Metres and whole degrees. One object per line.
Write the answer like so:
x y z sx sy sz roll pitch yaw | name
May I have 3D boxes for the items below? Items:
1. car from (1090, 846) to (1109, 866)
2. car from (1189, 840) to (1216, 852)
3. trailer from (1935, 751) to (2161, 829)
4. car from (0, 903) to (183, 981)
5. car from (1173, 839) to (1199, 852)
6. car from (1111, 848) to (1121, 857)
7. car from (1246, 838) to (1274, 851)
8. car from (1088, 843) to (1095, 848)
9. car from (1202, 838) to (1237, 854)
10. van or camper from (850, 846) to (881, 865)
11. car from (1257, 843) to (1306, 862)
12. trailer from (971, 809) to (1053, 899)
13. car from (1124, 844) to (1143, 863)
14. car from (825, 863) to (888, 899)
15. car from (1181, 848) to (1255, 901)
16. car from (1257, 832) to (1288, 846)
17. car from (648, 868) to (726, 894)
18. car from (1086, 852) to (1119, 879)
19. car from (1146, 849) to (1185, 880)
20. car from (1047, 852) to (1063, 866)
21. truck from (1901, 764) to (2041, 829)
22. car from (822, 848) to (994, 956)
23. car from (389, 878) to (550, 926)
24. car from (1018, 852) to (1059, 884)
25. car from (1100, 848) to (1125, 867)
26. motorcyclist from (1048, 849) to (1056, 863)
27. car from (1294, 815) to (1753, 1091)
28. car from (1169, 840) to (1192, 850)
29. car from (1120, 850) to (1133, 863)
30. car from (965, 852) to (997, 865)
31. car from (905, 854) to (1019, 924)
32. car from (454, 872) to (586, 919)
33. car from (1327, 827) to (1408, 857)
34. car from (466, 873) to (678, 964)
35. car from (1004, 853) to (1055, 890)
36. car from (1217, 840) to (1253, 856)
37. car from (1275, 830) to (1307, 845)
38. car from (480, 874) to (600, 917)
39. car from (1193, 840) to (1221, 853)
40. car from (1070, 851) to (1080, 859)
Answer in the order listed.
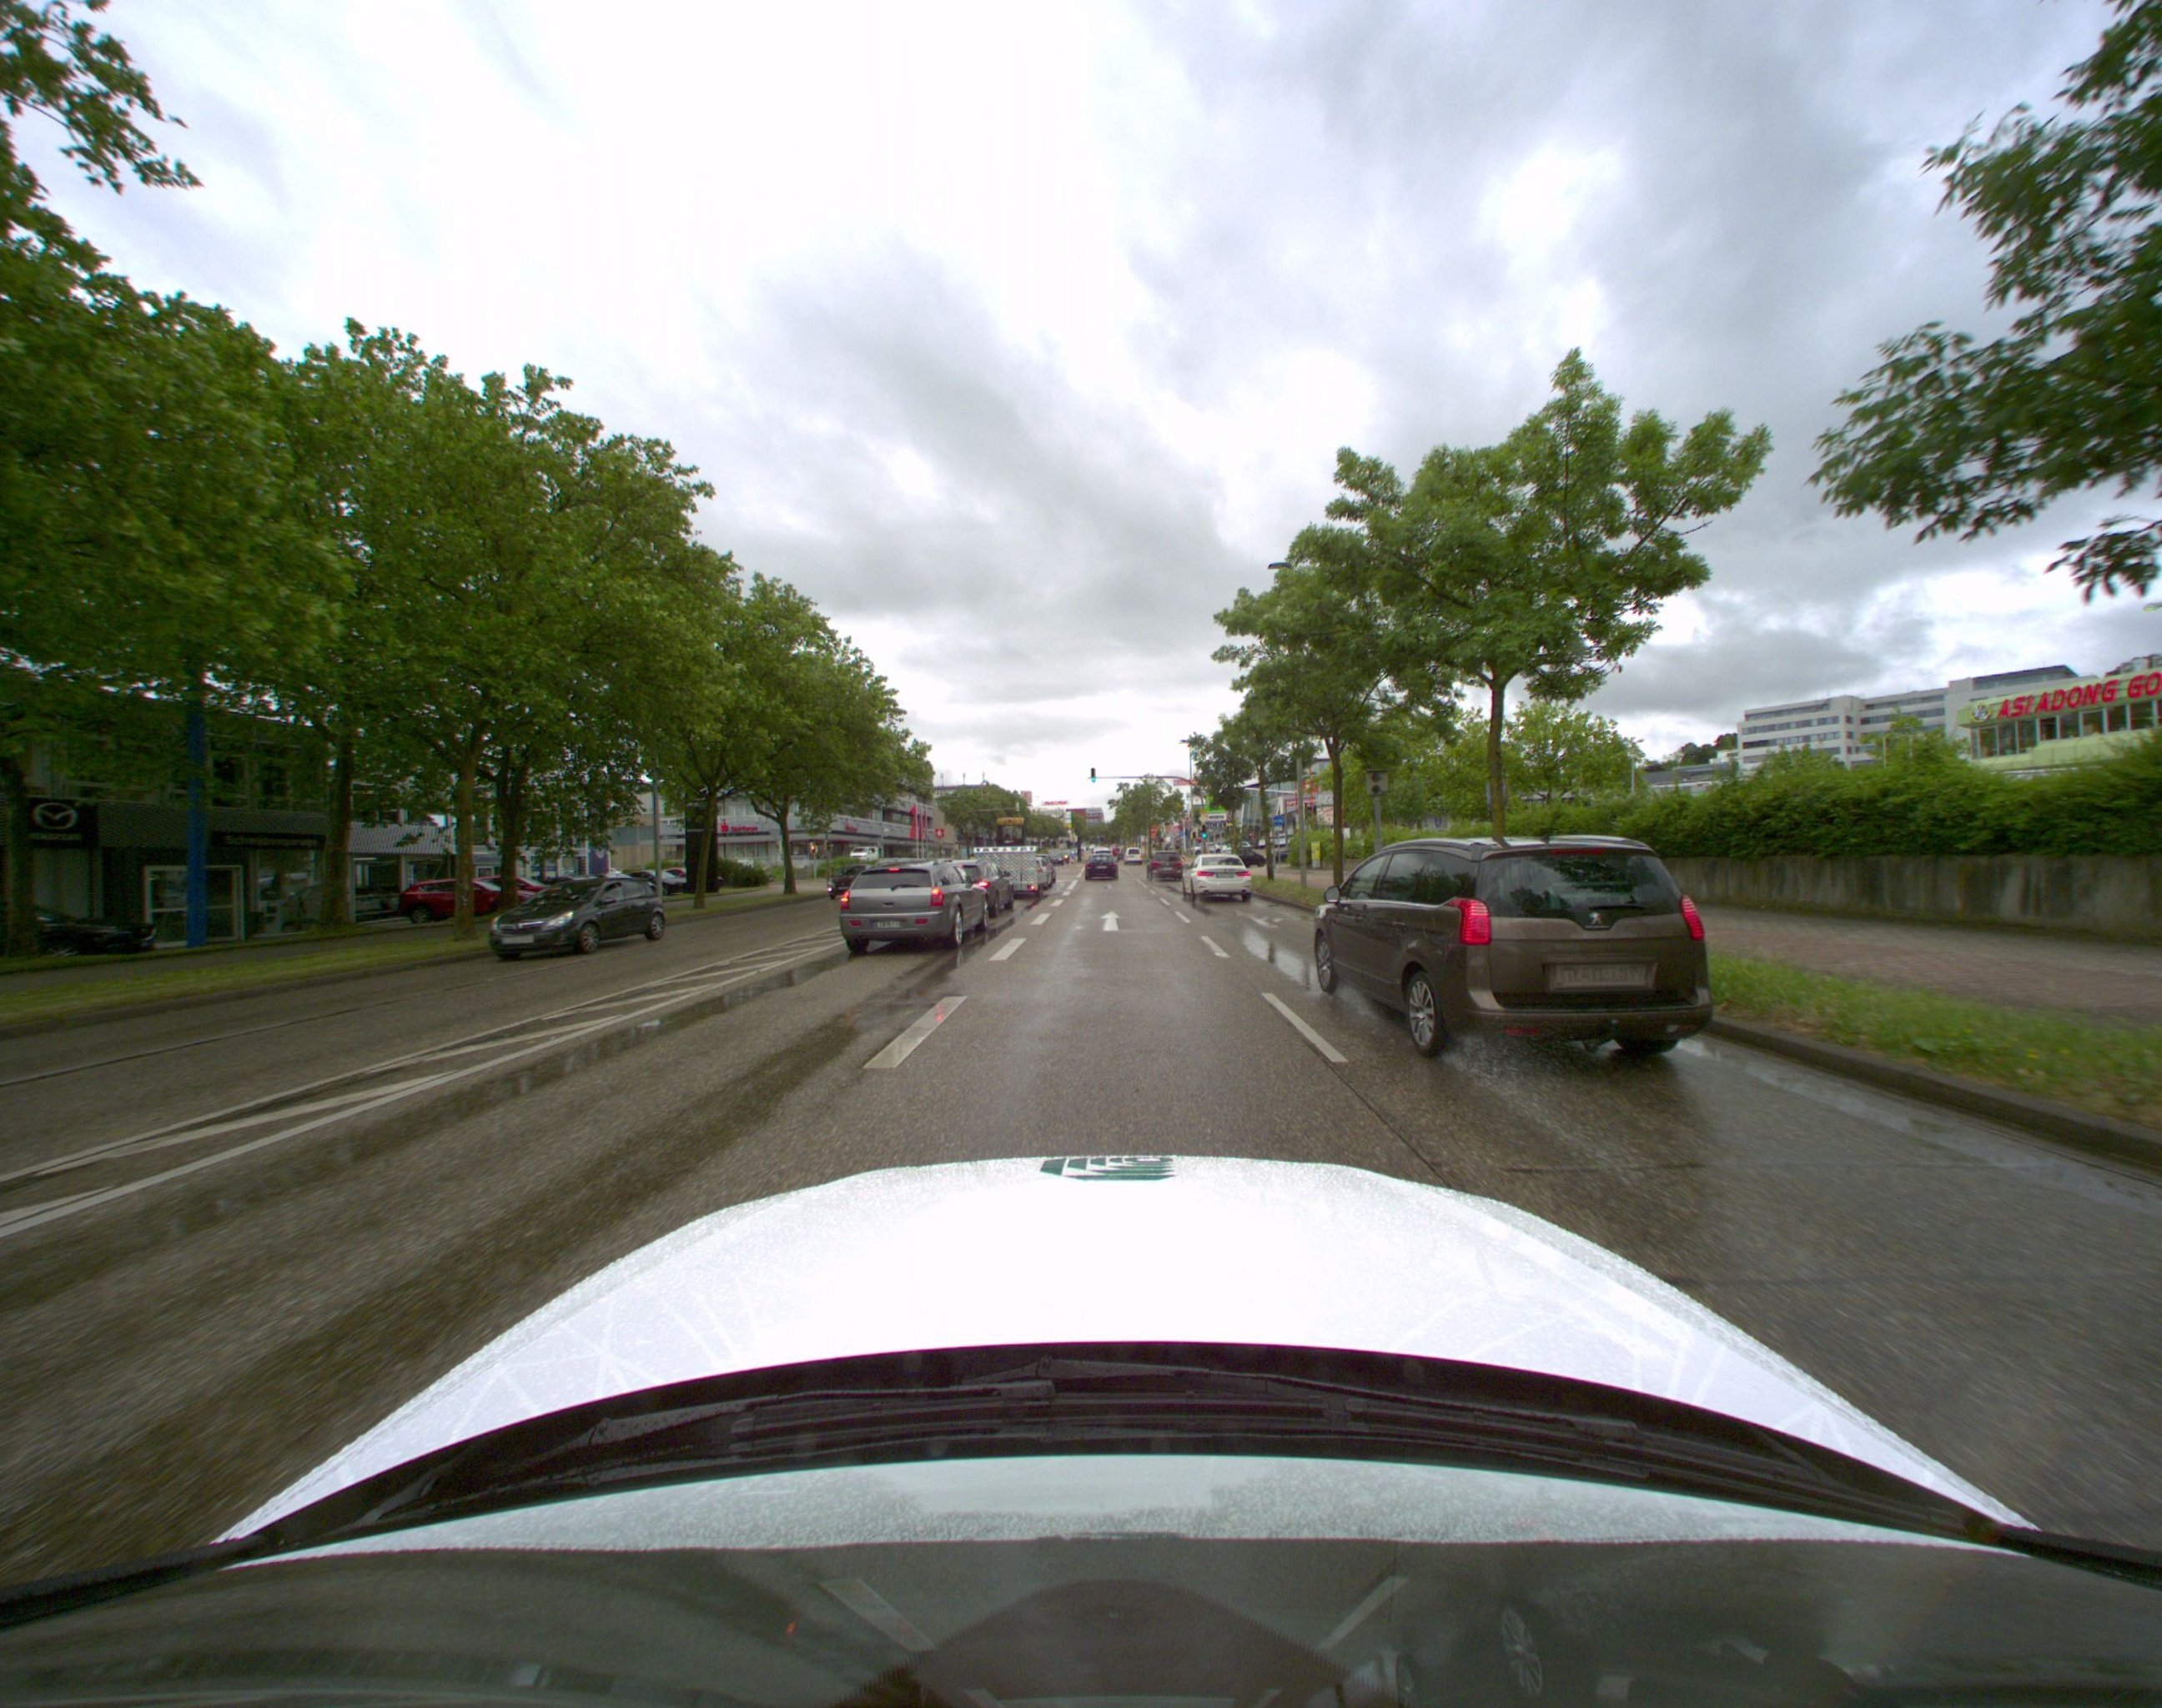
1.935 0.212 84.609 1.986 2.014 4.001 -1 -1 2 | car
17.231 -1.113 115.301 3.617 1.536 1.776 -4 1 -38 | car
54.551 -3.284 43.350 3.139 3.715 14.823 -1 1 2 | trailer
-23.770 2.009 18.211 4.478 1.450 1.982 -2 0 -27 | car
17.640 -1.444 137.104 4.094 1.904 1.801 -3 0 3 | car
5.940 -0.183 138.066 1.688 1.443 3.991 -2 -1 2 | car
25.795 -1.375 117.247 3.995 1.720 1.615 -3 0 -38 | car
3.306 -2.666 259.069 1.936 1.448 4.000 -2 0 0 | car
17.356 -0.959 101.842 4.047 1.662 1.960 -5 2 -38 | car
-23.225 0.150 87.857 1.986 1.967 4.789 -1 -1 1 | van or camper
18.142 -0.099 73.665 3.964 1.489 1.818 -3 -1 1 | car
-2.407 0.014 29.954 2.365 2.897 5.546 -3 0 0 | trailer
5.508 -0.026 86.017 1.775 1.866 4.001 -3 0 1 | car
-10.439 1.237 38.129 1.704 1.465 4.085 -3 0 0 | car
4.317 0.609 26.301 1.794 1.544 4.623 0 0 2 | car
26.003 -2.008 110.564 4.174 1.771 1.718 -3 0 -38 | car
-23.300 1.577 48.252 3.732 1.294 1.688 -3 0 -3 | car
1.198 0.609 45.656 1.775 1.398 4.001 -1 0 1 | car
4.488 0.519 43.883 1.794 1.587 4.453 0 0 2 | car
-2.795 0.502 87.993 1.678 1.377 3.997 -3 0 -2 | car
54.845 -3.436 50.399 3.139 3.715 5.140 -1 1 2 | truck
-2.942 0.739 15.072 1.900 1.578 4.883 -3 0 2 | car
-23.563 1.822 31.619 4.571 1.596 1.986 -1 0 -21 | car
-2.151 0.672 42.235 1.707 1.489 4.079 -3 0 1 | car
2.414 0.259 63.276 1.678 1.377 3.997 -3 0 -2 | car
-3.255 0.235 92.613 0.804 1.559 1.267 -2 0 0 | motorcyclist
3.297 0.606 7.232 1.720 1.624 4.473 -2 0 2 | car
17.648 -1.599 144.382 4.088 1.703 1.803 -2 1 7 | car
6.131 0.405 108.942 1.678 1.684 3.404 -1 -1 2 | car
-13.465 0.597 109.277 3.948 1.552 1.912 -3 1 36 | car
-2.949 0.816 21.219 1.985 1.429 4.557 -4 1 3 | car
-23.955 1.752 34.967 4.235 1.653 1.998 -4 -1 -22 | car
16.114 -0.675 45.982 3.969 1.442 1.657 -3 0 3 | car
-10.236 1.224 16.796 1.704 1.465 4.085 -3 0 0 | car
-2.212 0.729 36.279 1.759 1.458 4.782 -2 0 2 | car
17.005 -0.722 89.898 1.908 1.576 4.314 -2 0 43 | car
26.034 -2.072 100.886 4.177 1.771 1.717 -3 0 -42 | car
-25.155 1.875 38.033 4.235 1.596 1.985 -4 0 -22 | car
16.650 -0.951 107.607 3.616 1.536 1.625 -3 0 -38 | car
-1.211 0.235 158.383 1.717 1.398 4.790 -5 0 1 | car
